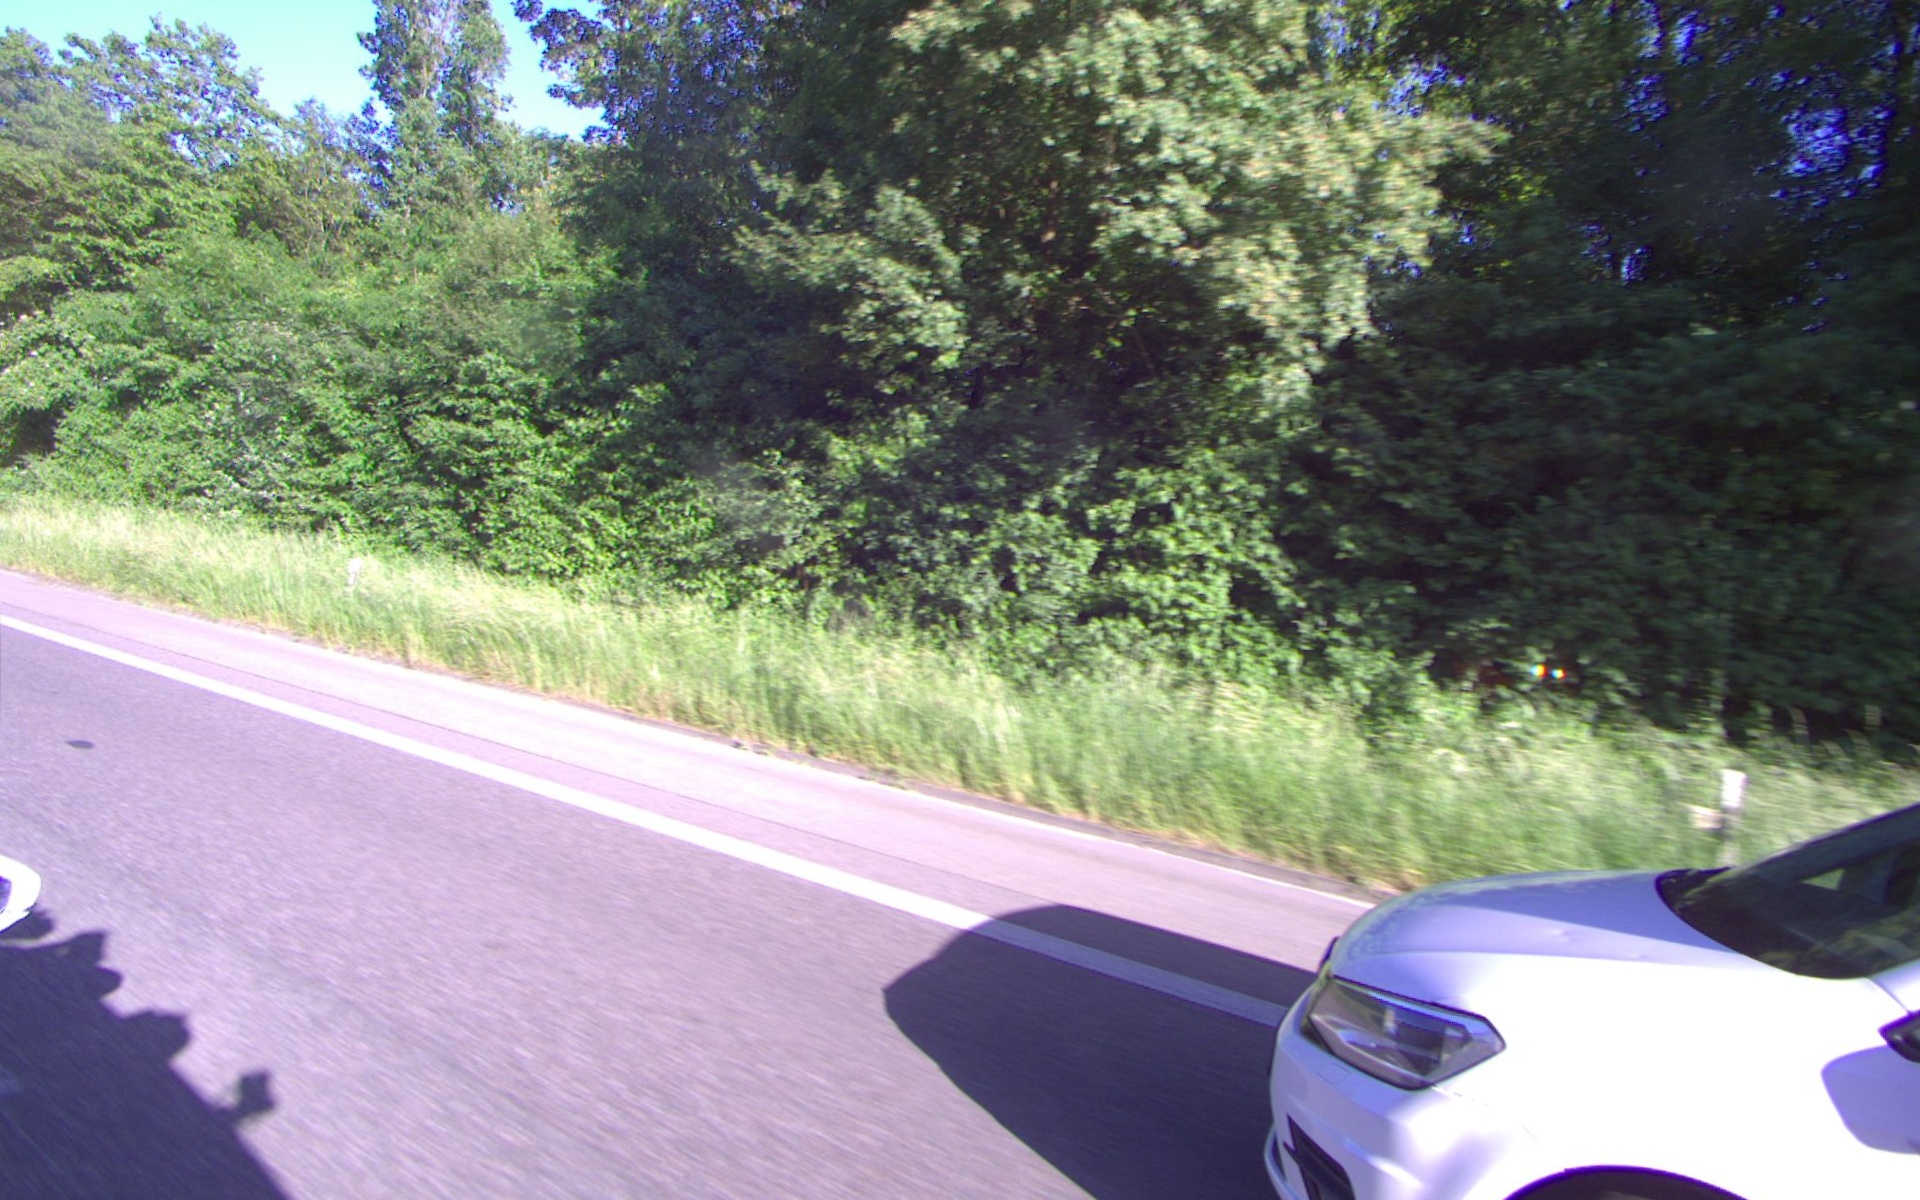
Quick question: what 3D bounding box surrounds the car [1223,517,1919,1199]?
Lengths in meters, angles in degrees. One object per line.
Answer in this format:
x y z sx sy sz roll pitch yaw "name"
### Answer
2.998 1.020 1.773 4.511 1.834 1.802 6 -2 31 "car"
